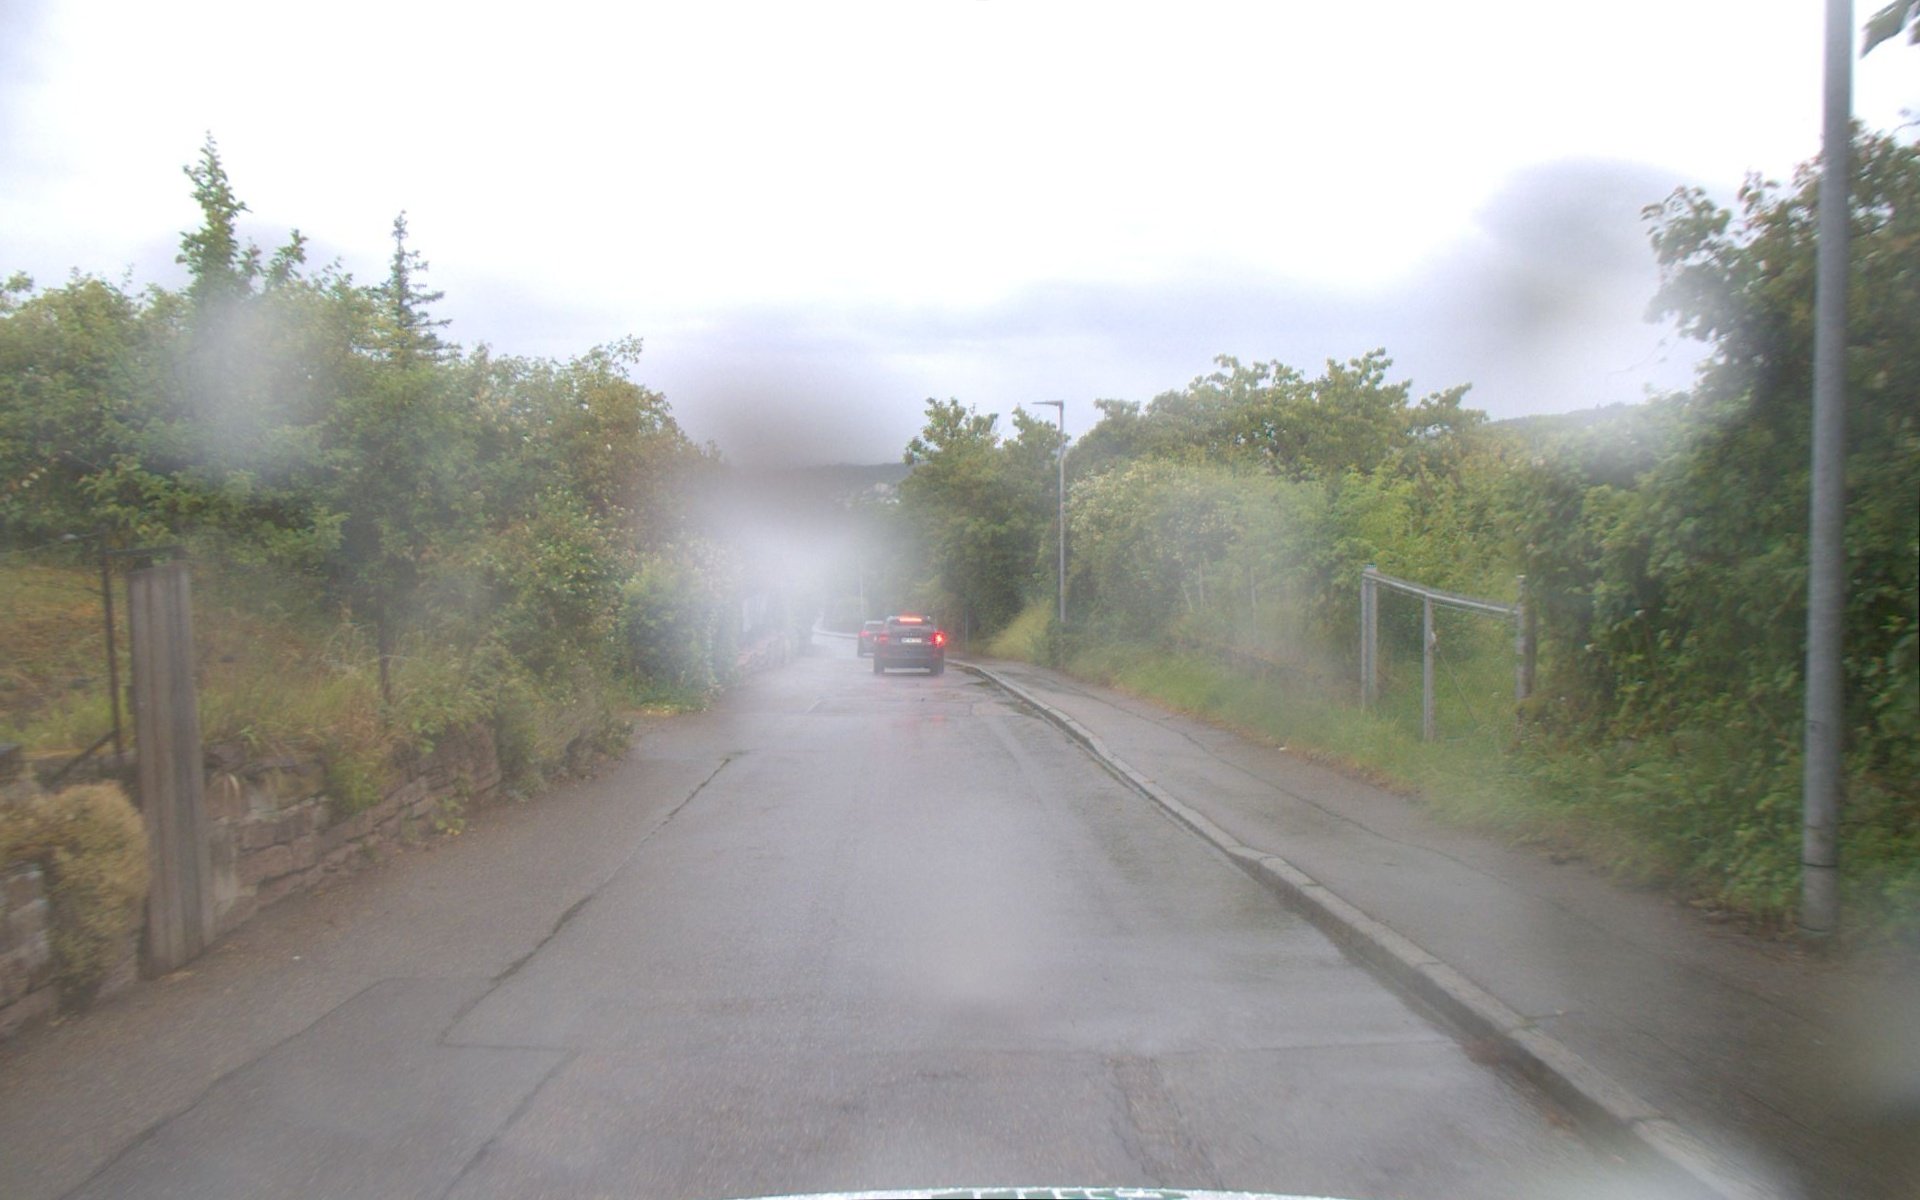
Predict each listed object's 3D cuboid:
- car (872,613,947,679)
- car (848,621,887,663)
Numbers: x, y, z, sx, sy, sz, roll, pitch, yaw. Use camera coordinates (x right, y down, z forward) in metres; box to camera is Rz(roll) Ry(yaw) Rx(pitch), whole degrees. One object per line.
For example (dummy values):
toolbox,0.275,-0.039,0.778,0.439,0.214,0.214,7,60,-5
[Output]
car,-1.339,1.137,42.372,1.798,1.489,3.997,-1,1,-4
car,-4.024,1.810,72.321,1.644,1.592,3.793,1,1,-2
